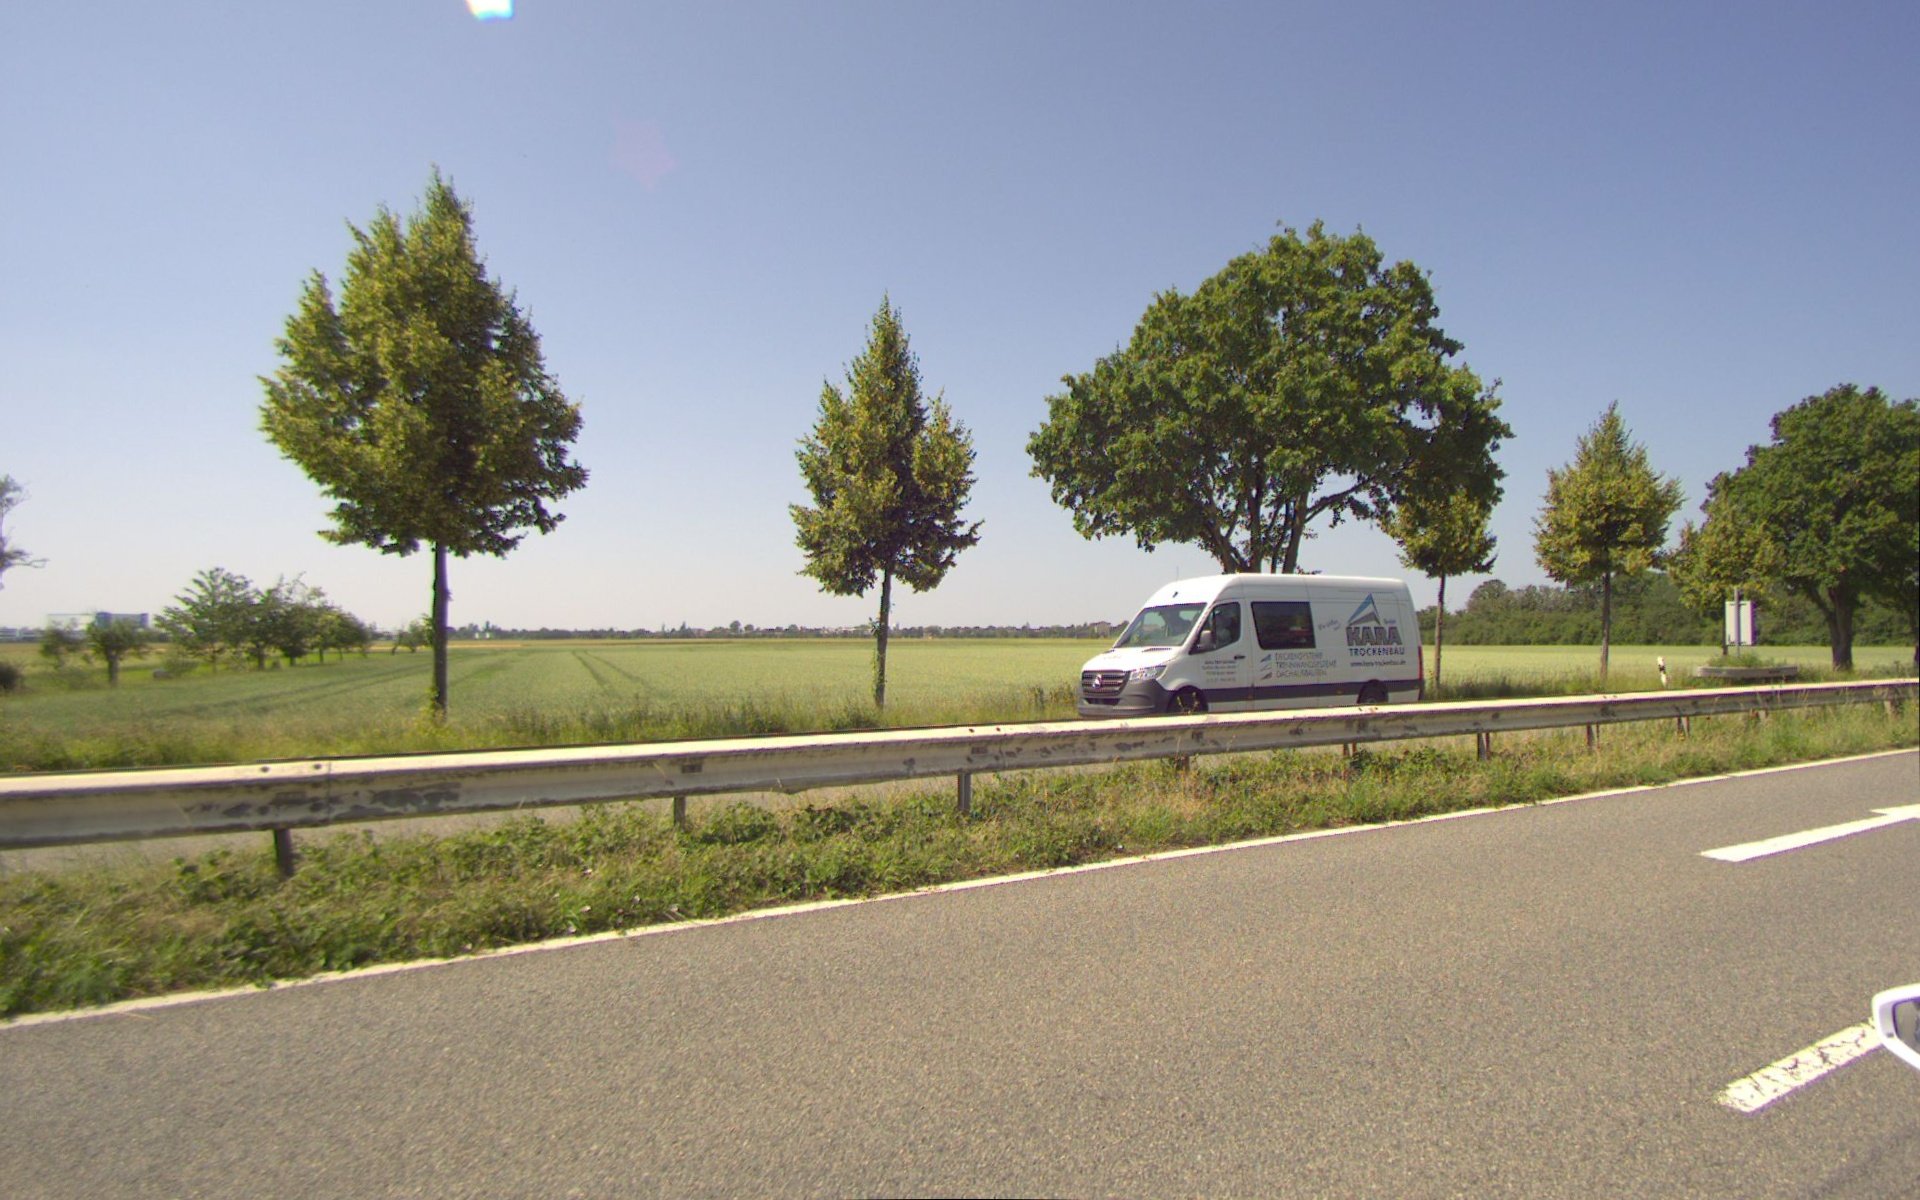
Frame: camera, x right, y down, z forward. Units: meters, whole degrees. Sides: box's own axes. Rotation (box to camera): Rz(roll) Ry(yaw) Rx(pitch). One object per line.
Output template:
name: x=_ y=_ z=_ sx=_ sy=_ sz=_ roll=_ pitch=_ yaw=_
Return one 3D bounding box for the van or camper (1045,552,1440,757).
van or camper: x=5.033 y=0.894 z=17.416 sx=7.007 sy=2.987 sz=2.375 roll=1 pitch=-2 yaw=-30
